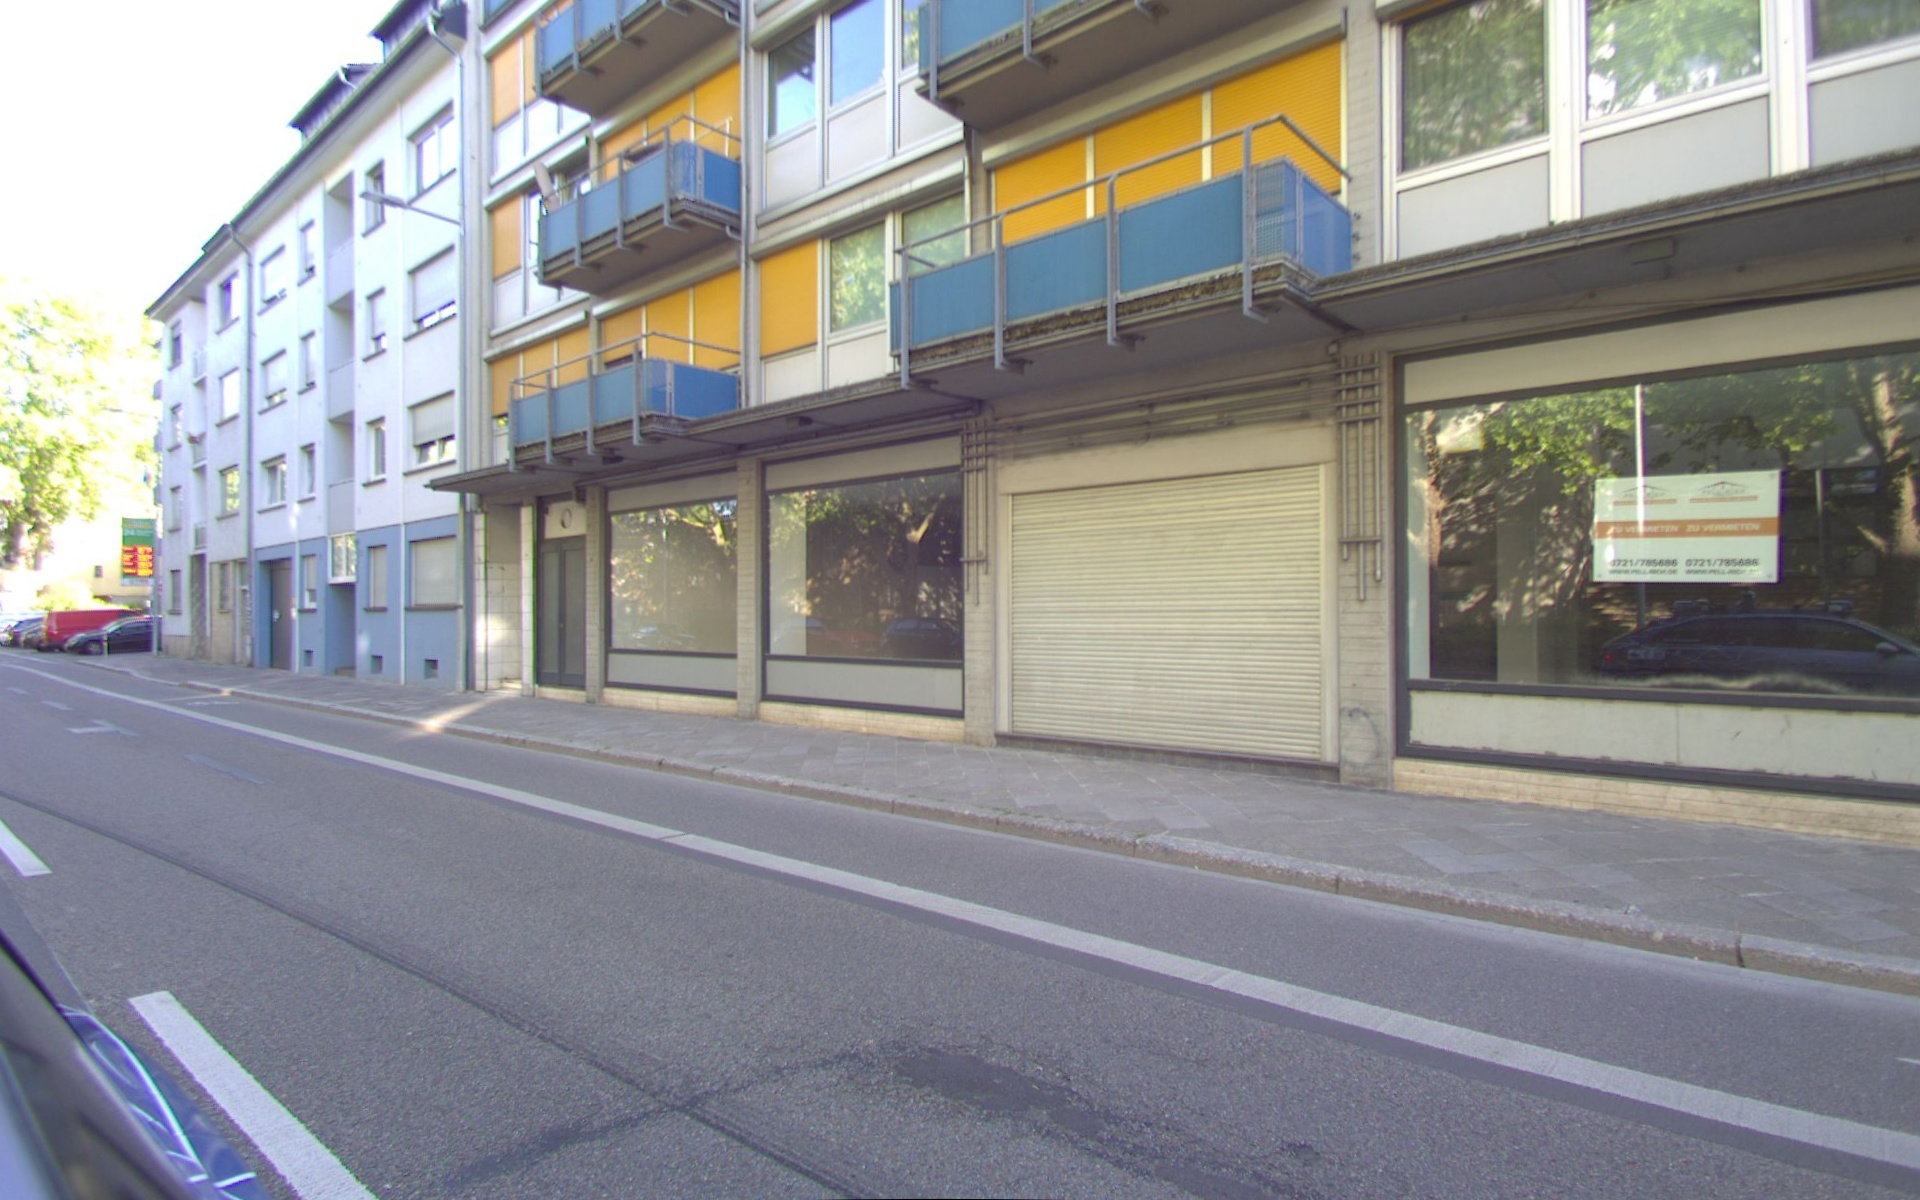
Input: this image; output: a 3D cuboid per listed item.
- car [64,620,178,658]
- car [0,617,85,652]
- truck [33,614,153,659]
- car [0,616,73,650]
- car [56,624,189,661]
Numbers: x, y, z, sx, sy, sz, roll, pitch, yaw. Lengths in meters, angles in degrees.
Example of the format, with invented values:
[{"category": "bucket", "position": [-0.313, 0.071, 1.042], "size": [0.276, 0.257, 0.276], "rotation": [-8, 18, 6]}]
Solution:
[{"category": "car", "position": [-38.026, 1.734, 45.934], "size": [1.657, 1.583, 3.762], "rotation": [-1, 0, 41]}, {"category": "car", "position": [-56.040, 2.071, 61.464], "size": [2.000, 1.971, 4.180], "rotation": [-1, 0, 43]}, {"category": "truck", "position": [-40.704, 1.652, 47.567], "size": [1.999, 1.939, 4.040], "rotation": [-1, 0, 40]}, {"category": "car", "position": [-59.324, 2.100, 64.394], "size": [2.000, 2.052, 4.180], "rotation": [-1, 0, 43]}, {"category": "car", "position": [-36.476, 1.797, 44.151], "size": [1.657, 1.417, 4.269], "rotation": [-1, 0, 40]}]
